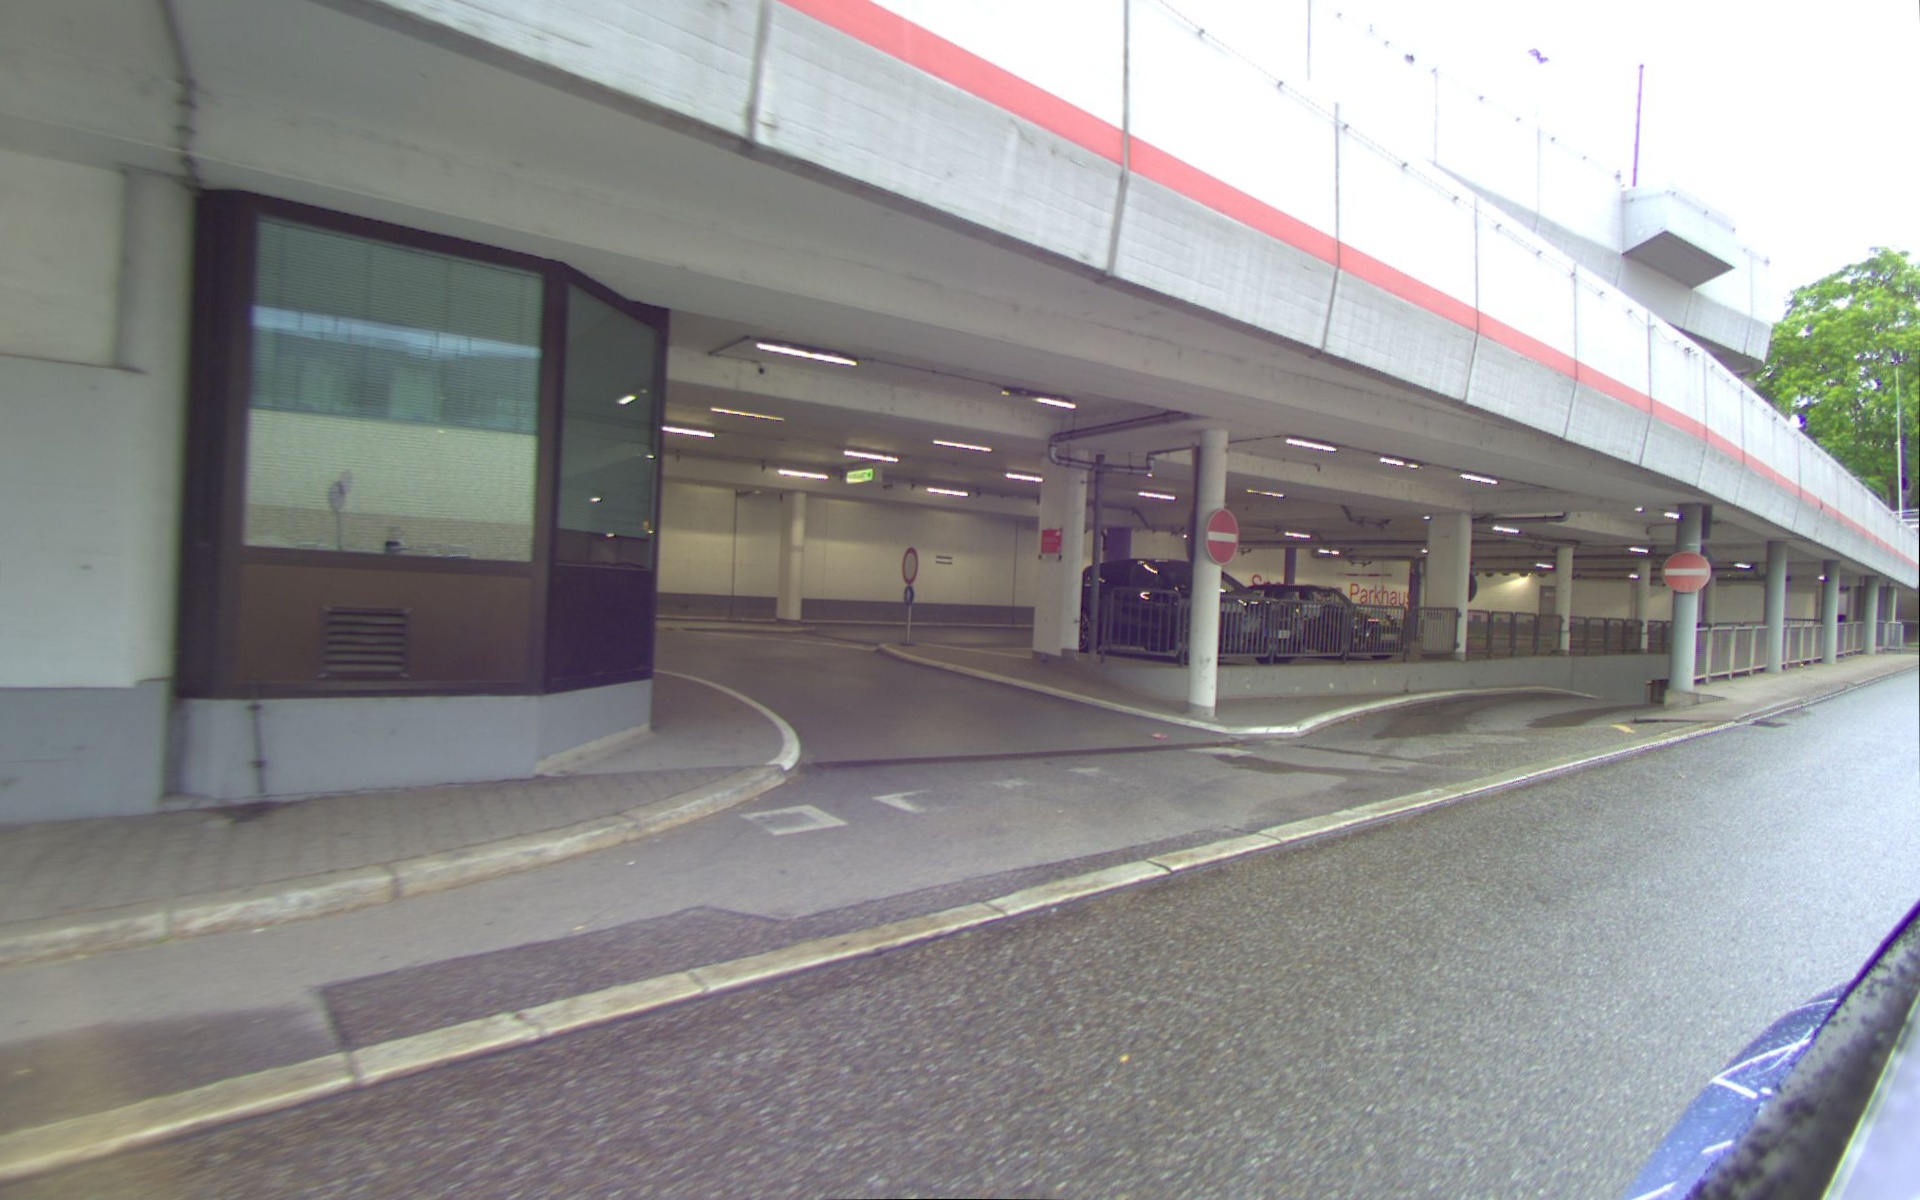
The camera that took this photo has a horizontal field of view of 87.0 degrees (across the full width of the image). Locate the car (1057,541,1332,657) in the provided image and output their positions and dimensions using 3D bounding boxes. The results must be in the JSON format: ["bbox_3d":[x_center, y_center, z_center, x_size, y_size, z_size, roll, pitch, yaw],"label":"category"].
[{"bbox_3d":[3.735,-0.013,16.992,1.786,1.661,4.594,-1,0,-31],"label":"car"}]

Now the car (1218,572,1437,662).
[{"bbox_3d":[7.205,0.287,20.164,1.772,1.524,3.738,2,1,-34],"label":"car"}]
